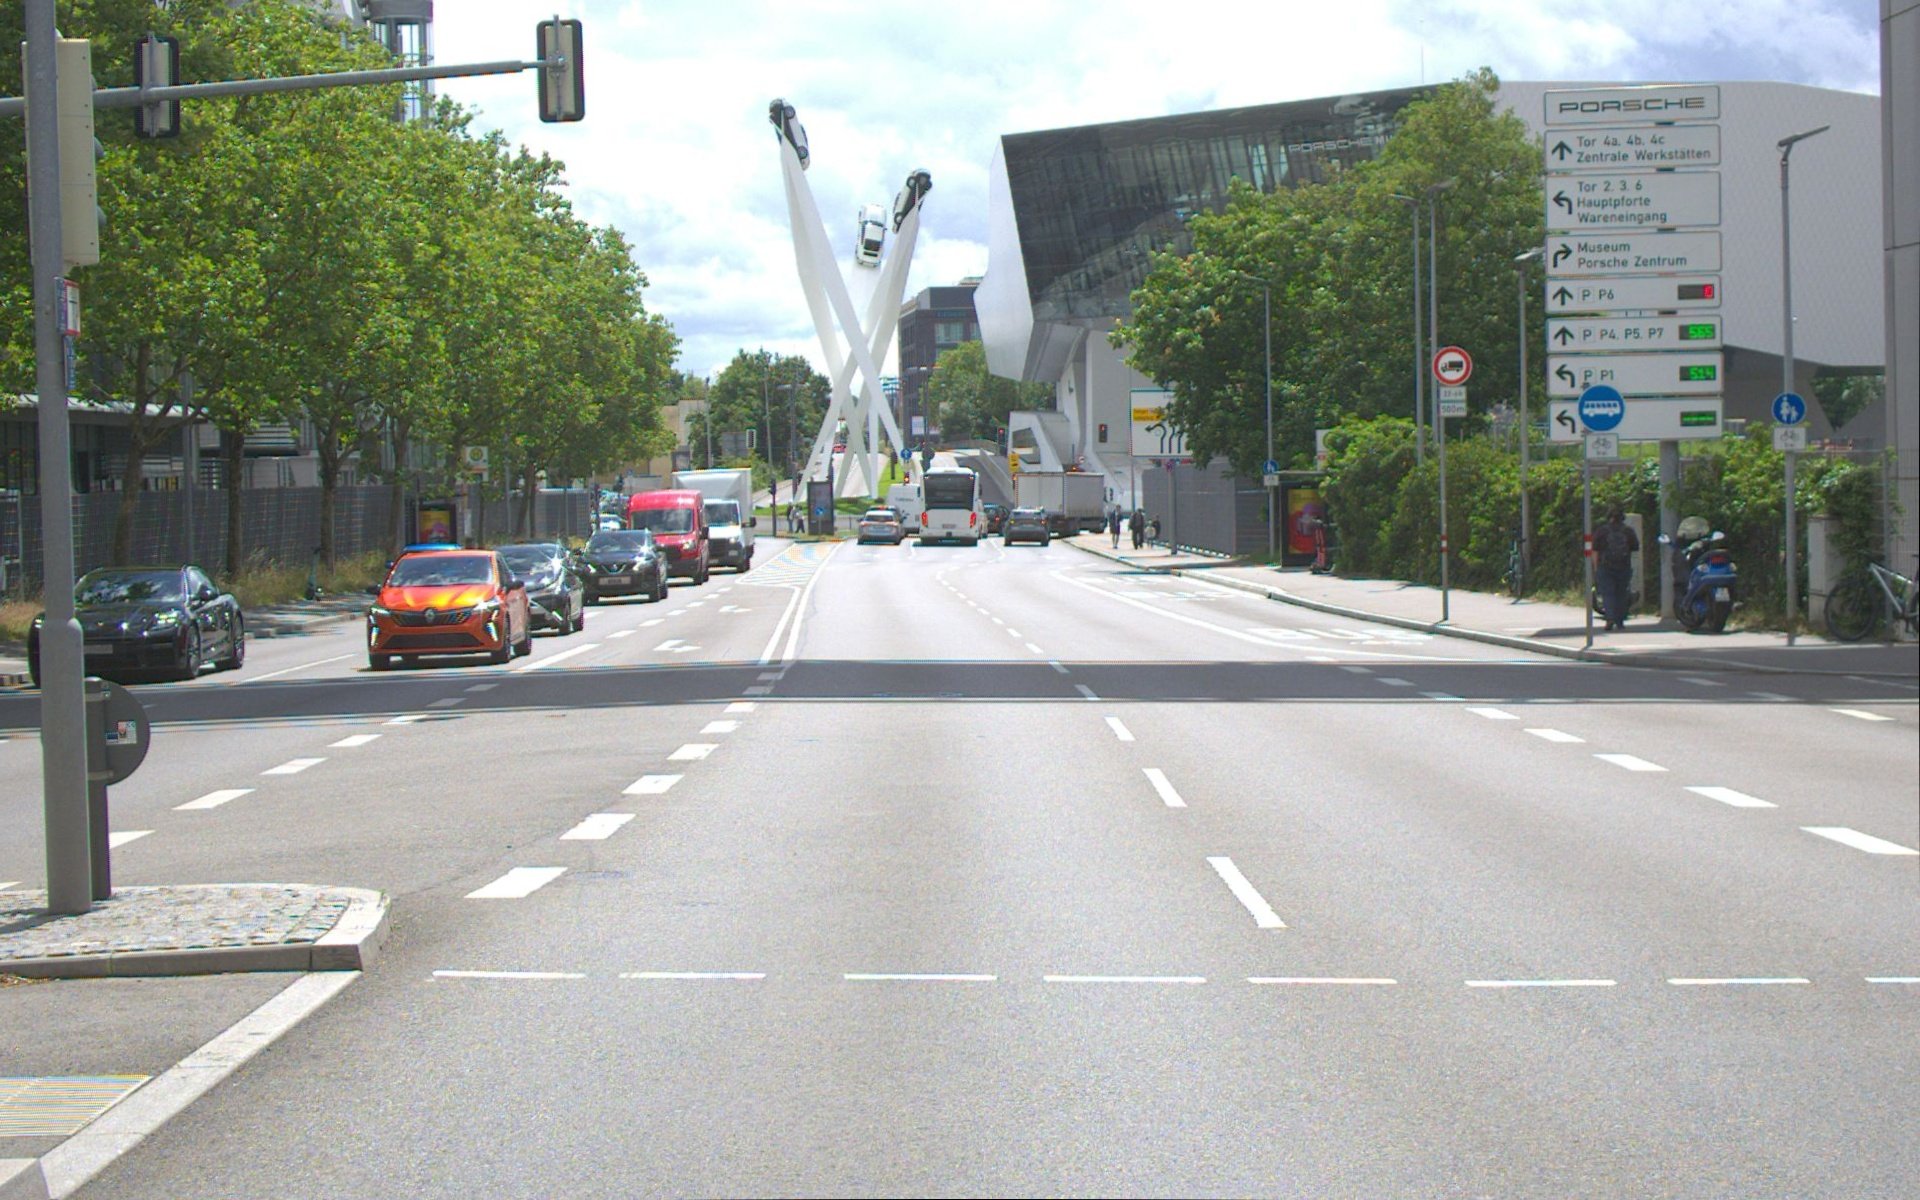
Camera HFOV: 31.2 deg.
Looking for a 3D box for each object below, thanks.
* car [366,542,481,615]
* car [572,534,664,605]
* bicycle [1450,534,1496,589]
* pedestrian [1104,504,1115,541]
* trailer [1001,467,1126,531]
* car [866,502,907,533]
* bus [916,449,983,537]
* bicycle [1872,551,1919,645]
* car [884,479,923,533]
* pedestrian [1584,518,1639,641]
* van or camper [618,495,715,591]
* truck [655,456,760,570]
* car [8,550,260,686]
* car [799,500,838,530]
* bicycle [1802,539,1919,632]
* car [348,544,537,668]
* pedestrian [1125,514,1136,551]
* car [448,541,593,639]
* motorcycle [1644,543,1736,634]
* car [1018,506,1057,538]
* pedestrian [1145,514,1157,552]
[{"bbox_3d":[-11.072,-0.465,71.150,1.727,1.378,3.701,-3,1,0],"label":"car"},{"bbox_3d":[-7.454,-0.687,75.182,1.557,1.443,3.773,-3,1,0],"label":"car"},{"bbox_3d":[9.738,-0.734,65.260,0.418,1.019,1.913,1,1,-5],"label":"bicycle"},{"bbox_3d":[5.876,-3.050,135.124,0.386,1.416,0.423,1,0,0],"label":"pedestrian"},{"bbox_3d":[5.241,-5.018,172.082,3.322,2.984,10.366,1,1,19],"label":"trailer"},{"bbox_3d":[-3.155,-3.578,148.622,1.557,1.269,3.701,-3,1,1],"label":"car"},{"bbox_3d":[-0.440,-4.617,150.067,2.787,3.673,6.943,1,1,0],"label":"bus"},{"bbox_3d":[11.659,-0.014,39.535,2.222,1.083,0.476,1,1,35],"label":"bicycle"},{"bbox_3d":[-2.793,-4.651,170.934,1.843,2.614,4.000,1,1,0],"label":"car"},{"bbox_3d":[8.773,-0.281,46.309,0.533,1.635,0.658,1,0,-6],"label":"pedestrian"},{"bbox_3d":[-7.723,-1.516,90.922,2.047,2.458,5.595,0,1,0],"label":"van or camper"},{"bbox_3d":[-7.596,-2.588,104.138,2.591,3.312,7.079,1,1,0],"label":"truck"},{"bbox_3d":[-10.232,0.177,42.943,1.917,1.483,4.772,-3,1,0],"label":"car"},{"bbox_3d":[-6.397,-3.831,155.758,1.557,1.269,3.701,-3,1,0],"label":"car"},{"bbox_3d":[11.167,-0.171,40.865,2.222,1.083,0.476,1,1,35],"label":"bicycle"},{"bbox_3d":[-6.533,0.042,43.715,1.769,1.415,3.701,-3,1,0],"label":"car"},{"bbox_3d":[6.543,-2.583,131.674,0.386,1.416,0.423,1,0,0],"label":"pedestrian"},{"bbox_3d":[-7.005,-0.183,55.084,1.769,1.415,3.701,-3,1,0],"label":"car"},{"bbox_3d":[9.544,-0.160,45.020,0.418,1.162,1.957,1,1,-11],"label":"motorcycle"},{"bbox_3d":[3.283,-3.314,146.121,1.557,1.269,3.701,-3,1,1],"label":"car"},{"bbox_3d":[7.315,-2.566,131.722,0.386,1.416,0.423,1,0,0],"label":"pedestrian"}]
